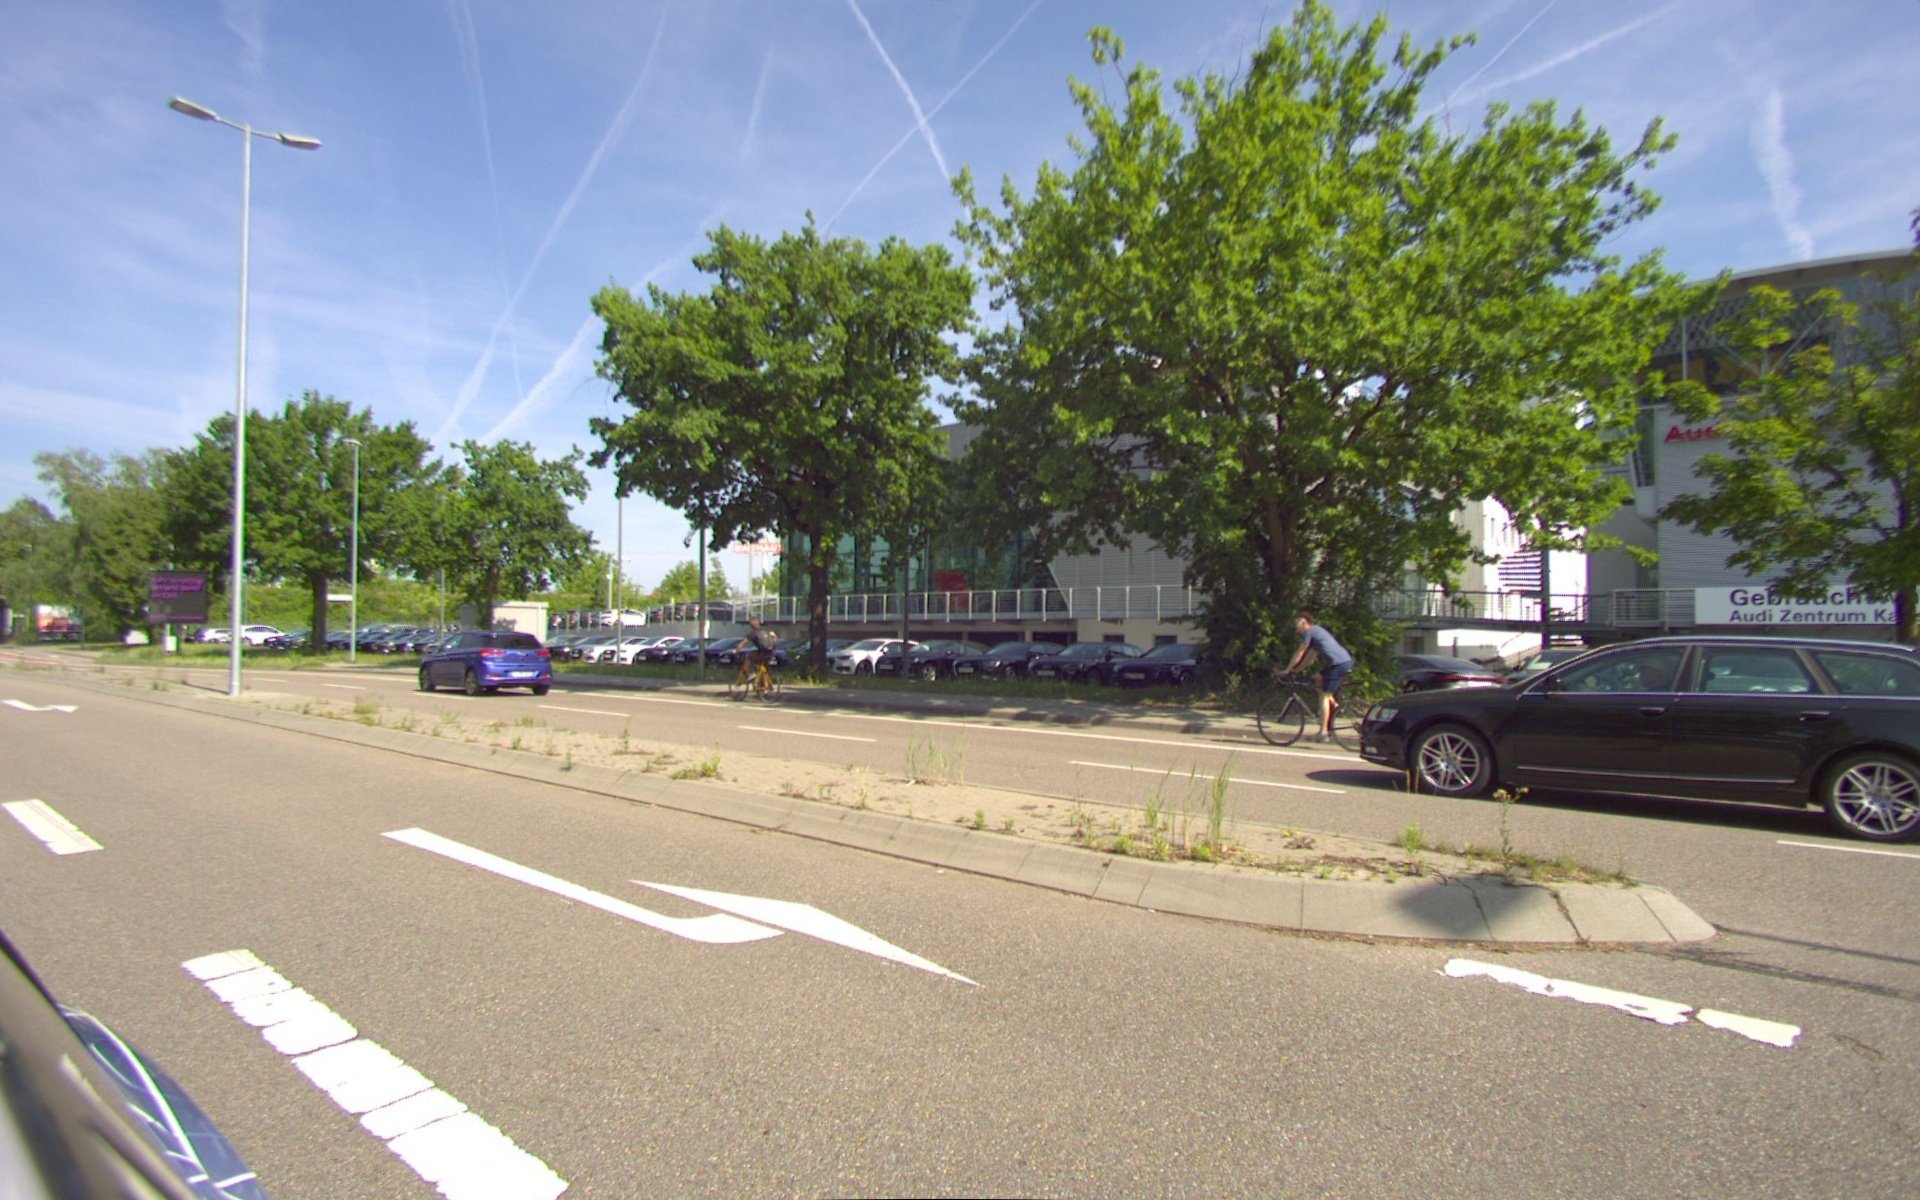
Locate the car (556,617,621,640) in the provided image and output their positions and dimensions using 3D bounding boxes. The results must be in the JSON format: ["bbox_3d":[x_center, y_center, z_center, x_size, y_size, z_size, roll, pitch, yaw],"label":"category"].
[{"bbox_3d":[-27.536,2.128,75.060,1.689,1.511,4.142,-2,-6,41],"label":"car"}]

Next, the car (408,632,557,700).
[{"bbox_3d":[-11.097,1.496,23.413,3.868,1.449,1.709,-2,-5,42],"label":"car"}]

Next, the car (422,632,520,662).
[{"bbox_3d":[-25.070,2.438,51.972,1.689,1.333,4.142,-2,-6,41],"label":"car"}]

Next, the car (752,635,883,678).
[{"bbox_3d":[-4.619,1.881,33.357,1.689,1.215,4.142,-2,-6,41],"label":"car"}]

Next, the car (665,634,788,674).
[{"bbox_3d":[-8.447,1.996,36.910,1.689,1.269,4.142,-2,-6,41],"label":"car"}]

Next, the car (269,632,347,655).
[{"bbox_3d":[-44.564,3.003,69.229,1.689,1.333,4.142,-2,-6,41],"label":"car"}]

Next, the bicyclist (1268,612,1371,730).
[{"bbox_3d":[4.769,0.928,13.444,1.143,1.494,0.564,-2,-3,44],"label":"bicyclist"}]

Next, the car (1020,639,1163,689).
[{"bbox_3d":[3.529,1.700,26.638,1.694,1.143,4.142,-2,-6,41],"label":"car"}]

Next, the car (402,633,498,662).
[{"bbox_3d":[-26.985,2.512,53.645,1.689,1.333,4.142,-2,-6,41],"label":"car"}]

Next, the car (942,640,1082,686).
[{"bbox_3d":[1.537,1.795,28.547,1.719,1.131,4.142,-2,-6,41],"label":"car"}]

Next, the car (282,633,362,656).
[{"bbox_3d":[-42.620,2.980,67.657,1.689,1.333,4.142,-2,-6,41],"label":"car"}]

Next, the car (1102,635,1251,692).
[{"bbox_3d":[5.411,1.584,24.922,1.796,1.236,4.142,-2,-6,41],"label":"car"}]

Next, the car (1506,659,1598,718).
[{"bbox_3d":[16.617,2.427,28.327,1.688,1.448,3.780,-2,-3,38],"label":"car"}]

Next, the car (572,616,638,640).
[{"bbox_3d":[-25.765,2.062,73.542,1.689,1.511,4.142,-2,-6,41],"label":"car"}]

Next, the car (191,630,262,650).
[{"bbox_3d":[-57.243,3.152,79.022,1.689,1.389,4.142,-2,-6,41],"label":"car"}]

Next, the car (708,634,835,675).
[{"bbox_3d":[-6.464,1.913,35.083,1.689,1.264,4.142,-2,-6,41],"label":"car"}]

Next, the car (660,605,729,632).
[{"bbox_3d":[-17.537,1.244,66.932,1.689,1.511,4.142,-2,-6,41],"label":"car"}]

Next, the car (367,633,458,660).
[{"bbox_3d":[-30.800,2.640,57.040,1.689,1.333,4.142,-2,-6,41],"label":"car"}]

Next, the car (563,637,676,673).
[{"bbox_3d":[-14.121,2.297,42.155,1.689,1.335,4.142,-2,-6,41],"label":"car"}]

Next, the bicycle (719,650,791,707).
[{"bbox_3d":[-4.409,1.669,21.699,1.770,1.159,0.565,-2,-4,44],"label":"bicycle"}]

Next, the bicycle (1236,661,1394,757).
[{"bbox_3d":[4.693,1.409,13.491,1.925,1.159,0.565,-2,-3,44],"label":"bicycle"}]

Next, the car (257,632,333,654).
[{"bbox_3d":[-46.654,3.024,71.078,1.689,1.333,4.142,-2,-6,41],"label":"car"}]

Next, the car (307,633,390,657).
[{"bbox_3d":[-38.714,2.857,64.180,1.689,1.333,4.142,-2,-6,41],"label":"car"}]

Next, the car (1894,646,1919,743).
[{"bbox_3d":[15.391,1.468,15.105,1.833,1.365,4.069,-2,-6,39],"label":"car"}]

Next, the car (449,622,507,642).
[{"bbox_3d":[-41.369,2.759,86.922,1.689,1.511,4.142,-2,-6,41],"label":"car"}]

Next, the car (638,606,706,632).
[{"bbox_3d":[-19.539,1.338,68.792,1.689,1.511,4.142,-2,-6,41],"label":"car"}]

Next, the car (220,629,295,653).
[{"bbox_3d":[-51.319,3.010,73.980,1.689,1.511,4.142,-2,-6,41],"label":"car"}]

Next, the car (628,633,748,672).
[{"bbox_3d":[-10.356,2.044,38.732,1.689,1.309,4.142,-2,-6,41],"label":"car"}]

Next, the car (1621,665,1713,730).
[{"bbox_3d":[18.555,2.488,26.501,1.688,1.484,3.779,-2,-3,39],"label":"car"}]

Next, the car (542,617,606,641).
[{"bbox_3d":[-29.212,2.221,76.618,1.689,1.511,4.142,-2,-6,41],"label":"car"}]

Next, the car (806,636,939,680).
[{"bbox_3d":[-2.691,1.838,31.838,1.689,1.204,4.142,-2,-6,41],"label":"car"}]

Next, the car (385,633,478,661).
[{"bbox_3d":[-28.699,2.552,55.046,1.689,1.333,4.142,-2,-6,41],"label":"car"}]

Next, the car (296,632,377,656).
[{"bbox_3d":[-40.648,2.897,66.050,1.689,1.333,4.142,-2,-6,41],"label":"car"}]

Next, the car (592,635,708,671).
[{"bbox_3d":[-12.353,2.147,40.528,1.689,1.265,4.142,-2,-6,41],"label":"car"}]

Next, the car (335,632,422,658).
[{"bbox_3d":[-34.648,2.717,60.397,1.689,1.333,4.142,-2,-6,41],"label":"car"}]

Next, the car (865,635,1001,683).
[{"bbox_3d":[-0.741,1.798,30.279,1.689,1.256,4.142,-2,-6,41],"label":"car"}]

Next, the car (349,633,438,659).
[{"bbox_3d":[-32.791,2.679,58.677,1.689,1.333,4.142,-2,-6,41],"label":"car"}]

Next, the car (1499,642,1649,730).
[{"bbox_3d":[11.350,1.580,18.605,1.807,1.413,3.984,-2,-6,39],"label":"car"}]

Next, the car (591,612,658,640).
[{"bbox_3d":[-23.758,1.855,71.809,1.689,1.745,4.142,-2,-6,41],"label":"car"}]

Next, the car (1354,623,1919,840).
[{"bbox_3d":[5.989,0.987,8.526,4.659,1.471,1.828,-2,-5,39],"label":"car"}]

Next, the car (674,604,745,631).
[{"bbox_3d":[-15.976,1.154,64.714,1.689,1.416,4.142,-2,-6,41],"label":"car"}]

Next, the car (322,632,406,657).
[{"bbox_3d":[-36.789,2.781,62.532,1.689,1.333,4.142,-2,-6,41],"label":"car"}]

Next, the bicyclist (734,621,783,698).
[{"bbox_3d":[-4.318,1.273,21.626,0.910,1.609,0.570,-2,-4,43],"label":"bicyclist"}]

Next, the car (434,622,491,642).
[{"bbox_3d":[-43.934,2.875,89.389,1.689,1.511,4.142,-2,-6,41],"label":"car"}]

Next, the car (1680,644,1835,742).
[{"bbox_3d":[13.294,1.538,16.837,1.801,1.405,4.173,-2,-6,40],"label":"car"}]

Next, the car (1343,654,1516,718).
[{"bbox_3d":[10.773,1.928,23.541,1.662,1.343,3.848,1,-3,-11],"label":"car"}]
